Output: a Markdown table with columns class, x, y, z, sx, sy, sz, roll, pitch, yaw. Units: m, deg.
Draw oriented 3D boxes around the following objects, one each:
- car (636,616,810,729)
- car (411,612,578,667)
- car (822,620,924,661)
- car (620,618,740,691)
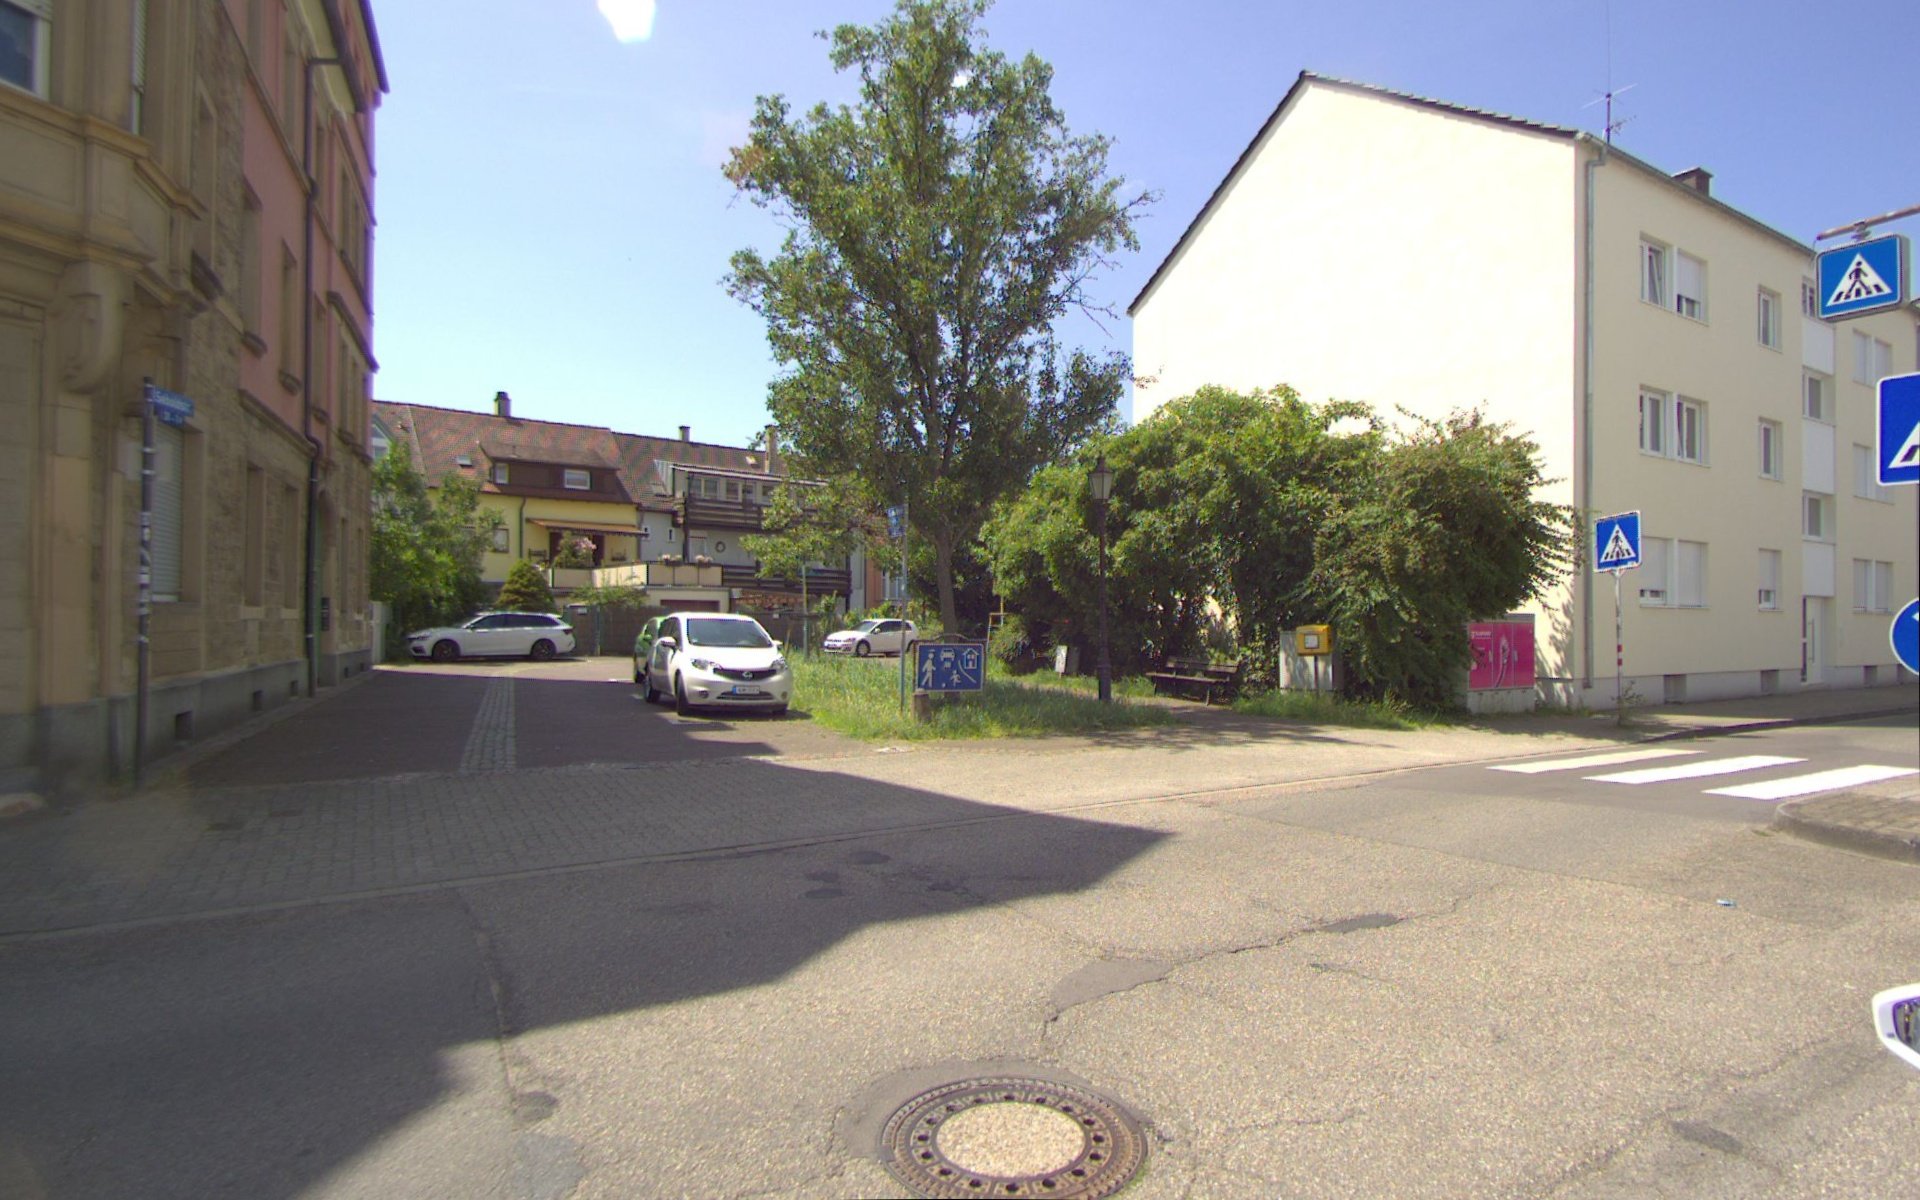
| class | x | y | z | sx | sy | sz | roll | pitch | yaw |
| --- | --- | --- | --- | --- | --- | --- | --- | --- | --- |
| car | -3.924 | 1.046 | 16.162 | 1.845 | 1.522 | 3.972 | 1 | 0 | -27 |
| car | -13.770 | 1.131 | 29.853 | 4.249 | 1.474 | 1.653 | 1 | 0 | -38 |
| car | -3.347 | 1.542 | 39.165 | 1.439 | 1.439 | 3.975 | 2 | 0 | 44 |
| car | -6.148 | 1.124 | 21.755 | 1.780 | 1.416 | 3.973 | 1 | -2 | -27 |
